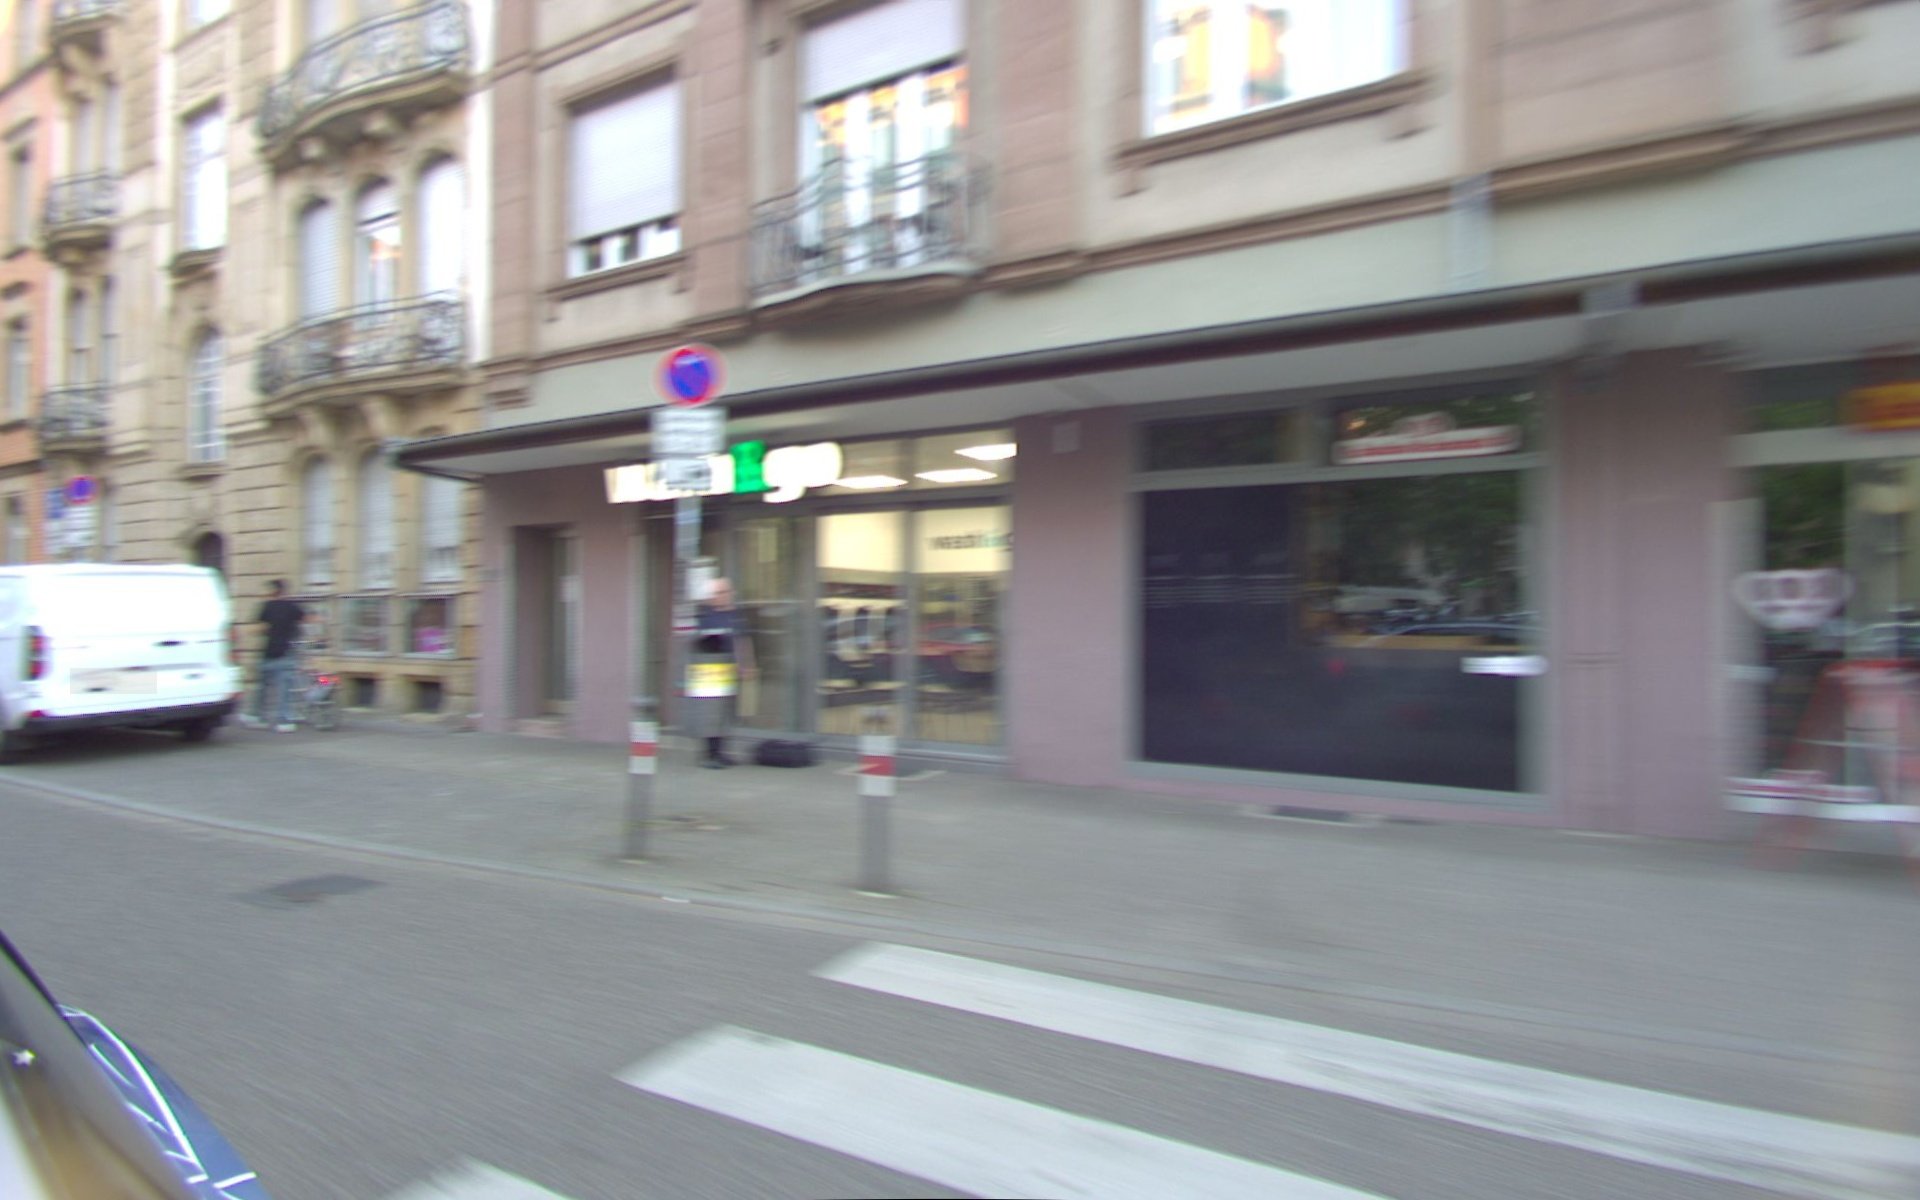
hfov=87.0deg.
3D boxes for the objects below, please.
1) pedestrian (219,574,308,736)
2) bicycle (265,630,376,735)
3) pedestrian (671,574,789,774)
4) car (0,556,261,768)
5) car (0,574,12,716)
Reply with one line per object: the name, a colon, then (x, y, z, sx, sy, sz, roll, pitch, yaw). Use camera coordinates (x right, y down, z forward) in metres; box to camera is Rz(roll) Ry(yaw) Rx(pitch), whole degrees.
pedestrian: (-8.251, 0.623, 11.983, 0.994, 1.837, 0.532, 0, 0, 34)
bicycle: (-7.823, 0.970, 12.362, 1.780, 1.151, 0.467, 0, 1, 34)
pedestrian: (-2.039, 0.623, 9.008, 0.733, 1.690, 0.704, -1, 0, 31)
car: (-10.348, 0.588, 11.402, 5.004, 1.936, 2.095, 0, -1, 29)
car: (-15.584, 0.623, 14.411, 4.828, 1.936, 1.823, 0, -1, 31)
